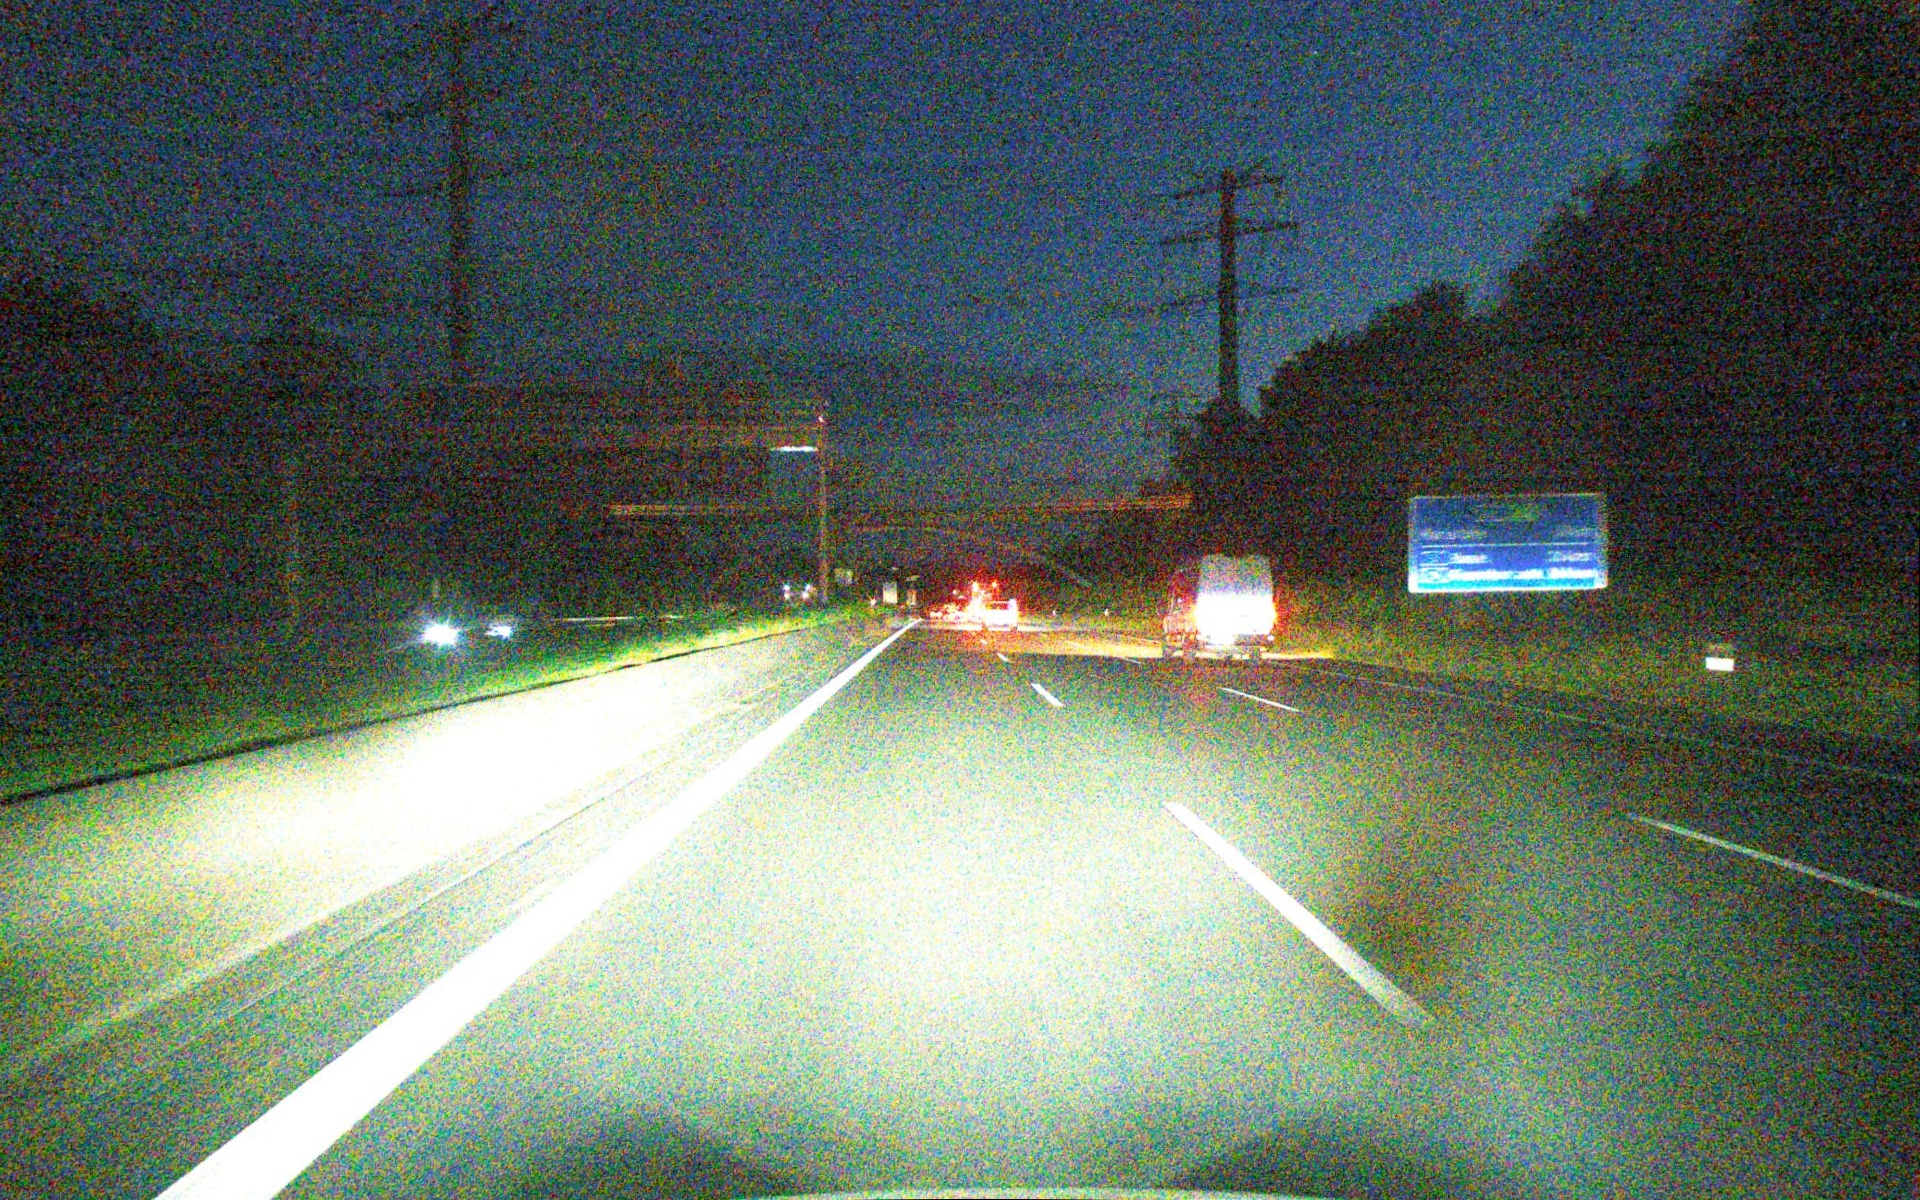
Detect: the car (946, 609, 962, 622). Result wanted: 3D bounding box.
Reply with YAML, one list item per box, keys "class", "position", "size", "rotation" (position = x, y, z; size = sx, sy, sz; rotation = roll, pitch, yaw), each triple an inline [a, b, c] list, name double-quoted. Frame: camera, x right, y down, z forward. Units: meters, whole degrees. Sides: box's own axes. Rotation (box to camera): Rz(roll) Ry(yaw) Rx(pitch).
- class: "car"
  position: [-0.713, 1.863, 199.637]
  size: [1.783, 1.491, 4.248]
  rotation: [1, 1, 0]

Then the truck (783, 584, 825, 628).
- class: "truck"
  position: [-17.769, 0.554, 189.415]
  size: [3.180, 4.567, 17.437]
  rotation: [1, 1, -1]

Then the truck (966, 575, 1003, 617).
- class: "truck"
  position: [2.068, -0.377, 142.056]
  size: [2.982, 3.382, 10.142]
  rotation: [1, 1, 0]

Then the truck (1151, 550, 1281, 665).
- class: "truck"
  position: [6.648, 0.269, 43.846]
  size: [2.035, 2.738, 7.304]
  rotation: [1, -1, -2]

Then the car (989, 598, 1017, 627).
- class: "car"
  position: [2.284, 0.672, 88.450]
  size: [1.319, 1.411, 3.501]
  rotation: [1, 1, -1]

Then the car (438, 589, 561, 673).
- class: "car"
  position: [-12.045, 0.757, 43.633]
  size: [1.869, 1.956, 5.456]
  rotation: [-1, 1, -2]
